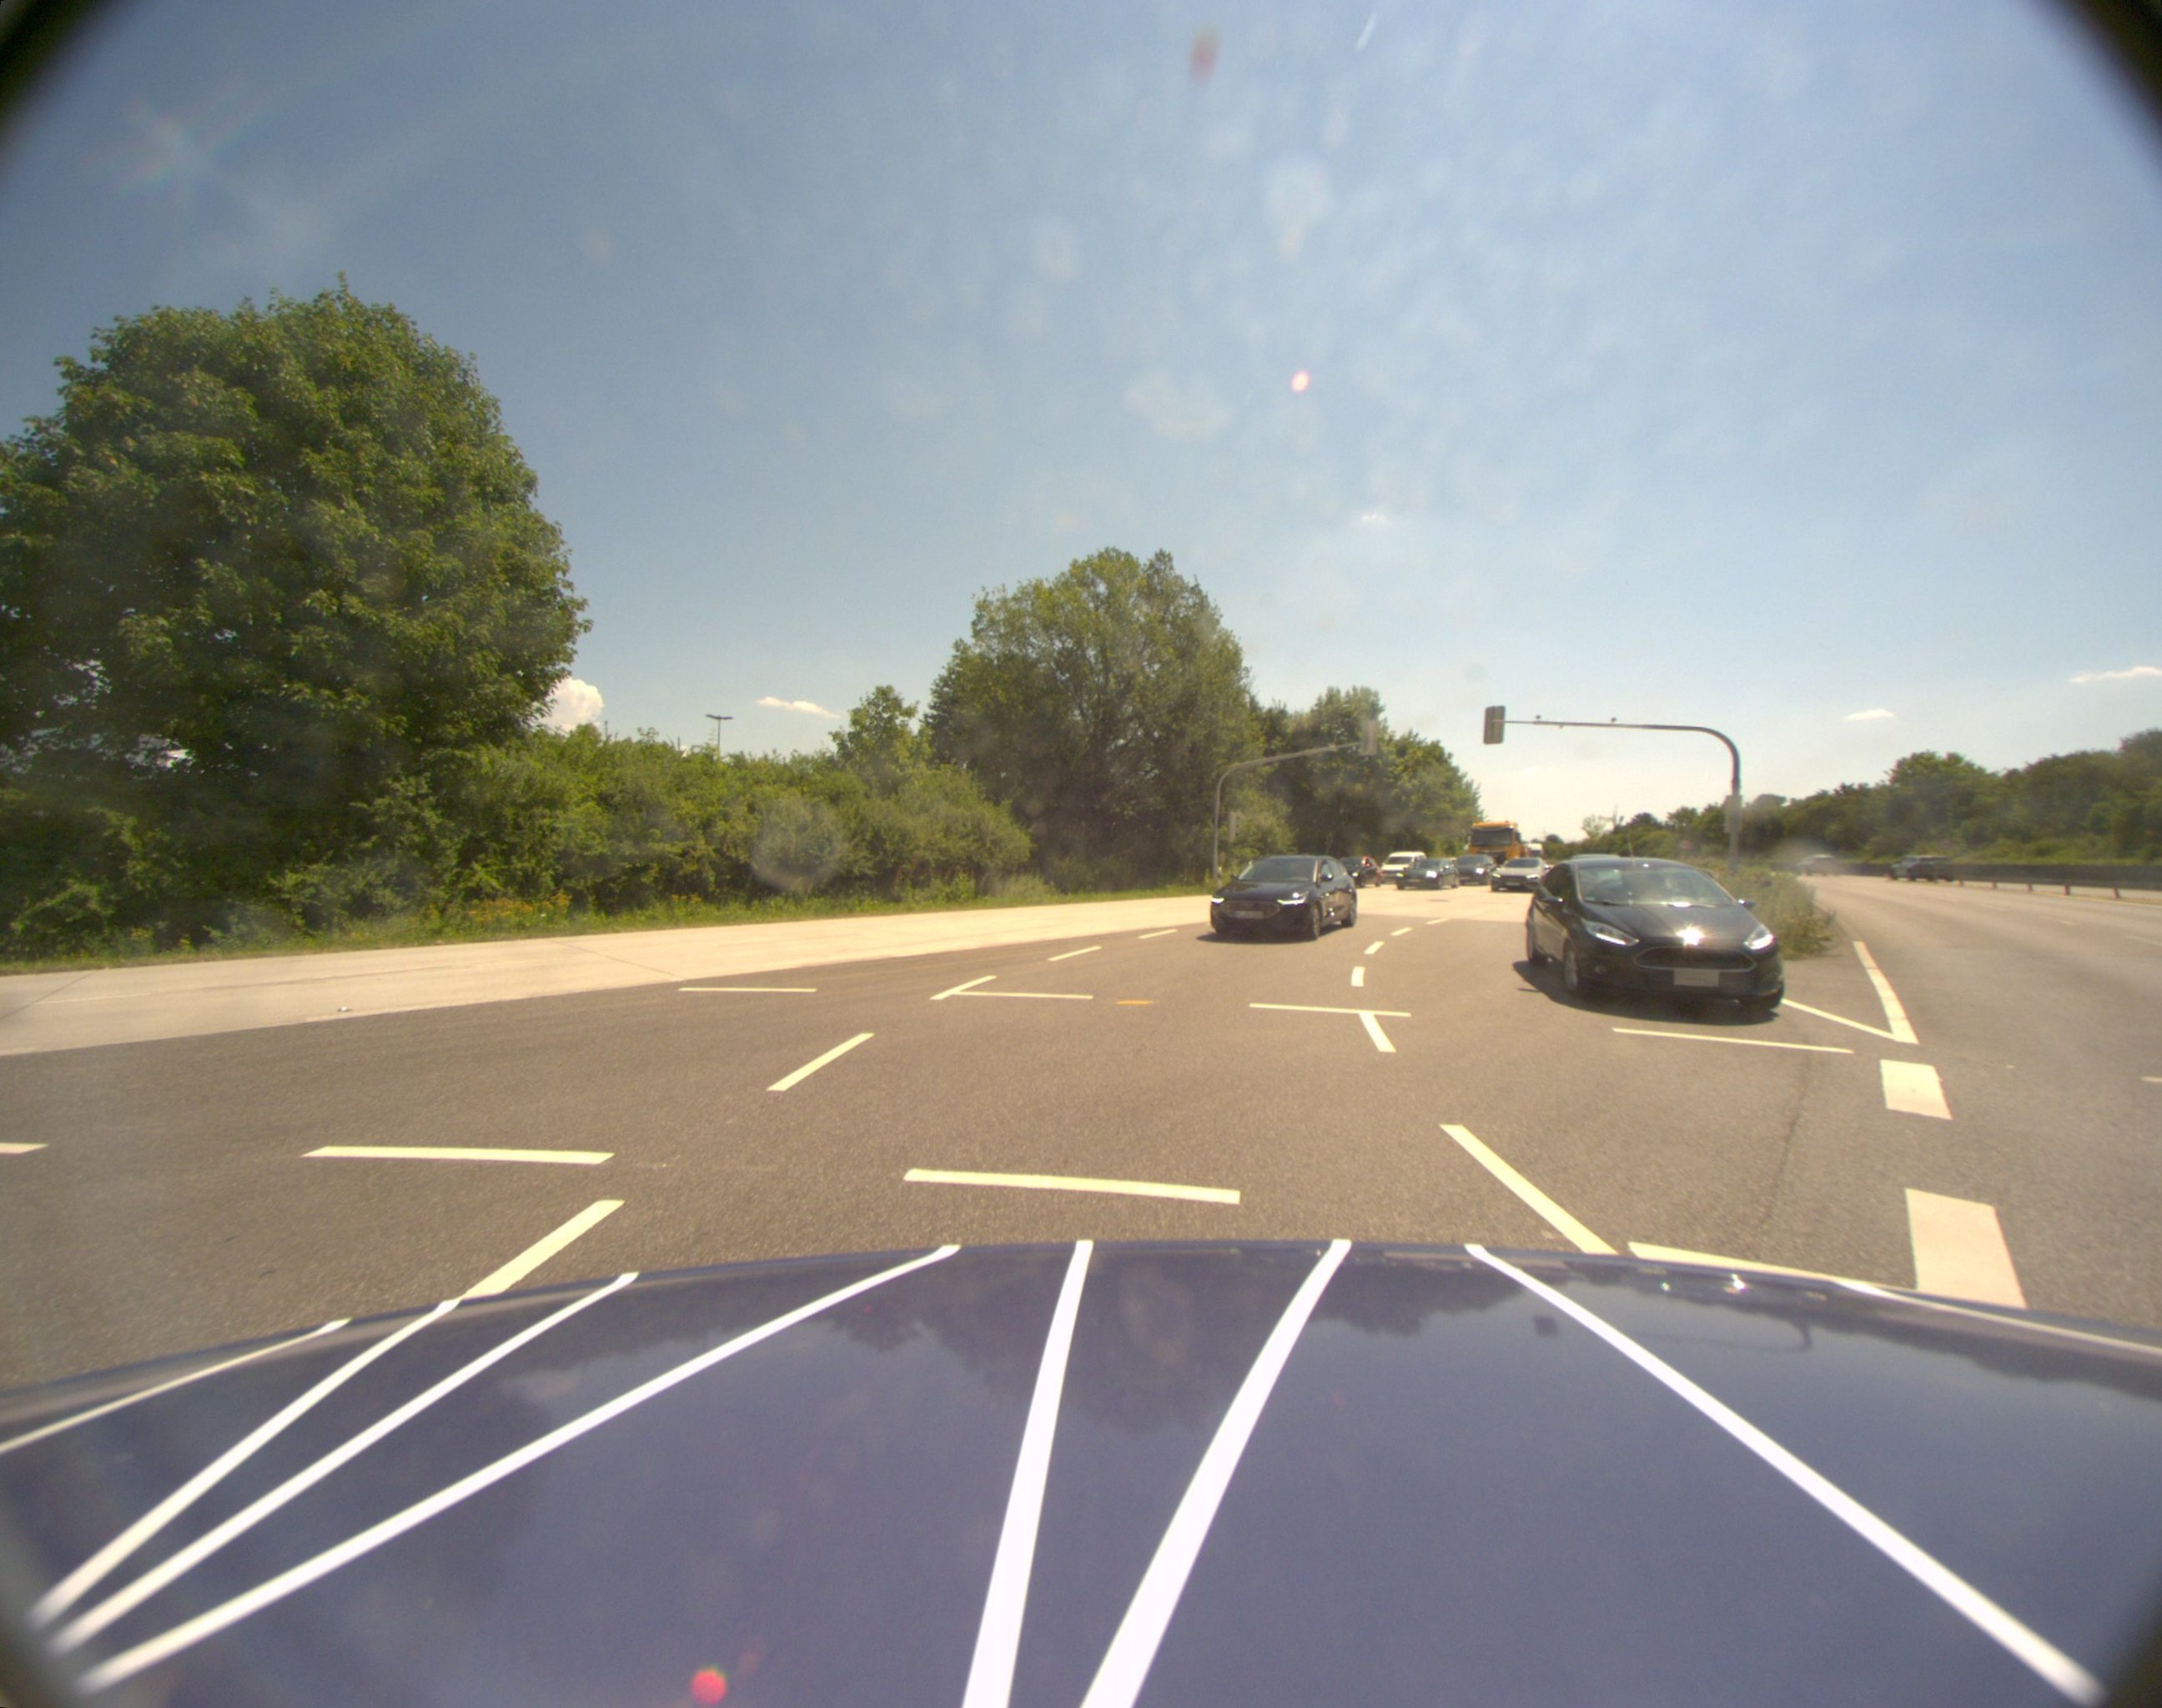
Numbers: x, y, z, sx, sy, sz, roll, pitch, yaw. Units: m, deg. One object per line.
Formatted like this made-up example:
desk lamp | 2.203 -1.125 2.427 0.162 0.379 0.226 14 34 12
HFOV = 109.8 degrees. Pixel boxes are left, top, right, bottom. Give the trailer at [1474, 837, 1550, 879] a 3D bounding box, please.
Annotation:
trailer | 30.864 0.245 53.909 3.028 2.578 16.391 0 0 36

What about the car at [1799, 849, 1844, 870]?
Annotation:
car | 63.717 0.448 65.452 1.994 1.762 4.867 1 1 35

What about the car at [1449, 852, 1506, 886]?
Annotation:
car | 20.765 0.733 39.675 1.784 1.630 4.657 0 1 39

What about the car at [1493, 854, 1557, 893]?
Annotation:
car | 18.680 0.761 31.891 1.886 1.456 4.008 0 1 37

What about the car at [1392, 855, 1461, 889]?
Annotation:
car | 15.803 0.755 34.596 1.768 1.402 4.619 0 1 39

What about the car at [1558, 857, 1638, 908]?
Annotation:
car | 16.815 0.869 24.618 1.702 1.456 4.008 0 1 41

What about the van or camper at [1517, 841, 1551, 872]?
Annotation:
van or camper | 38.953 0.195 65.273 2.064 2.559 5.920 0 1 36

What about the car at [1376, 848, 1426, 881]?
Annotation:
car | 18.494 0.553 43.787 1.768 1.797 4.802 0 1 34

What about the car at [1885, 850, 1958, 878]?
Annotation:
car | 53.193 0.584 48.195 1.994 1.682 4.666 1 1 34

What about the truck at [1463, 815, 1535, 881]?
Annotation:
truck | 25.959 -0.358 47.031 3.014 3.751 7.485 0 1 36

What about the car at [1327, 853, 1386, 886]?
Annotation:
car | 13.523 0.731 37.191 1.768 1.500 3.659 0 1 36

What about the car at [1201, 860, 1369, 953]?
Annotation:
car | 3.961 0.839 14.228 1.727 1.430 4.313 0 0 34

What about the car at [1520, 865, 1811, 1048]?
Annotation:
car | 6.263 0.912 8.681 1.624 1.476 4.006 0 1 22
